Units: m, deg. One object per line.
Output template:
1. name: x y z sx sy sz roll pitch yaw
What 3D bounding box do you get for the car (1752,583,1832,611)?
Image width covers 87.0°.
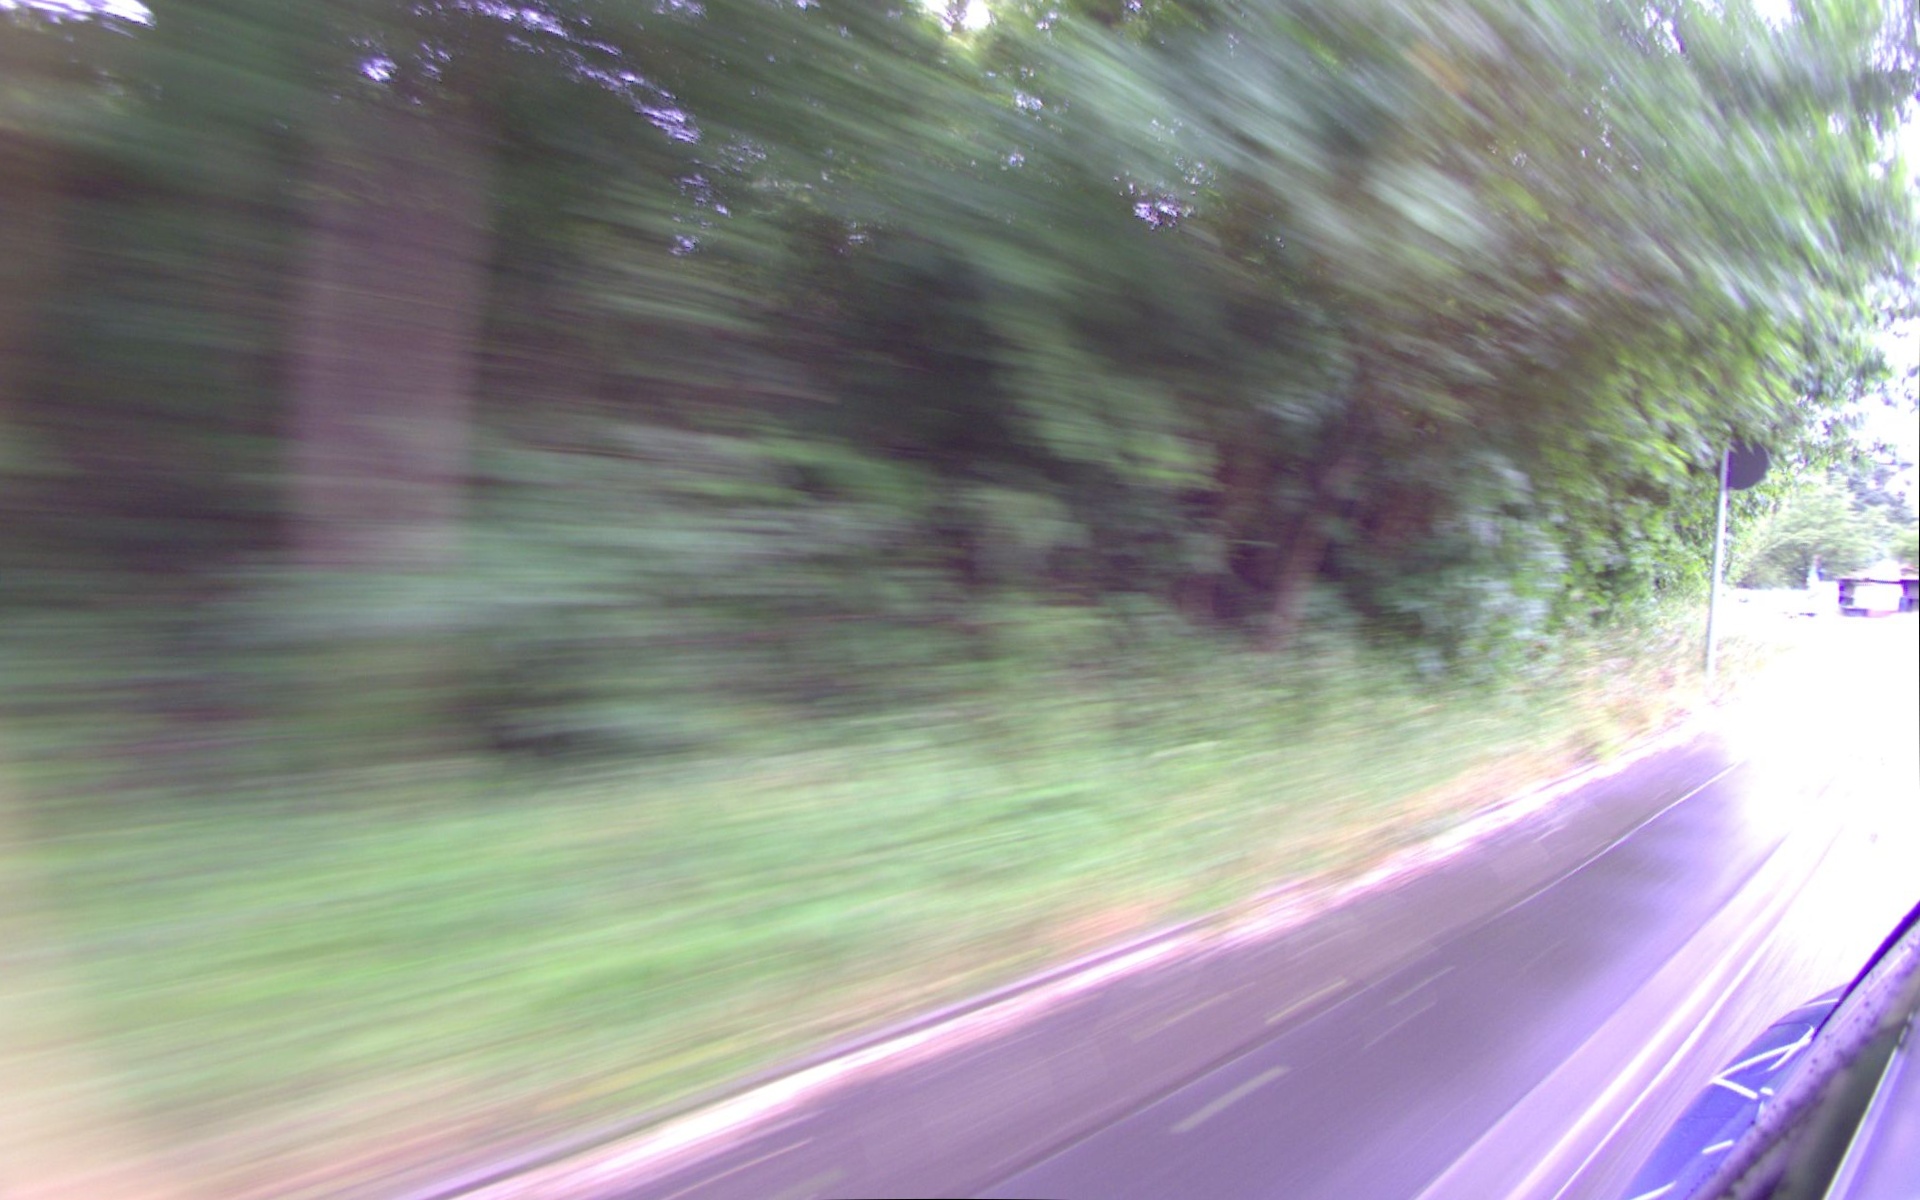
1. car: 49.971 -0.177 60.890 1.736 1.635 4.406 0 0 10
